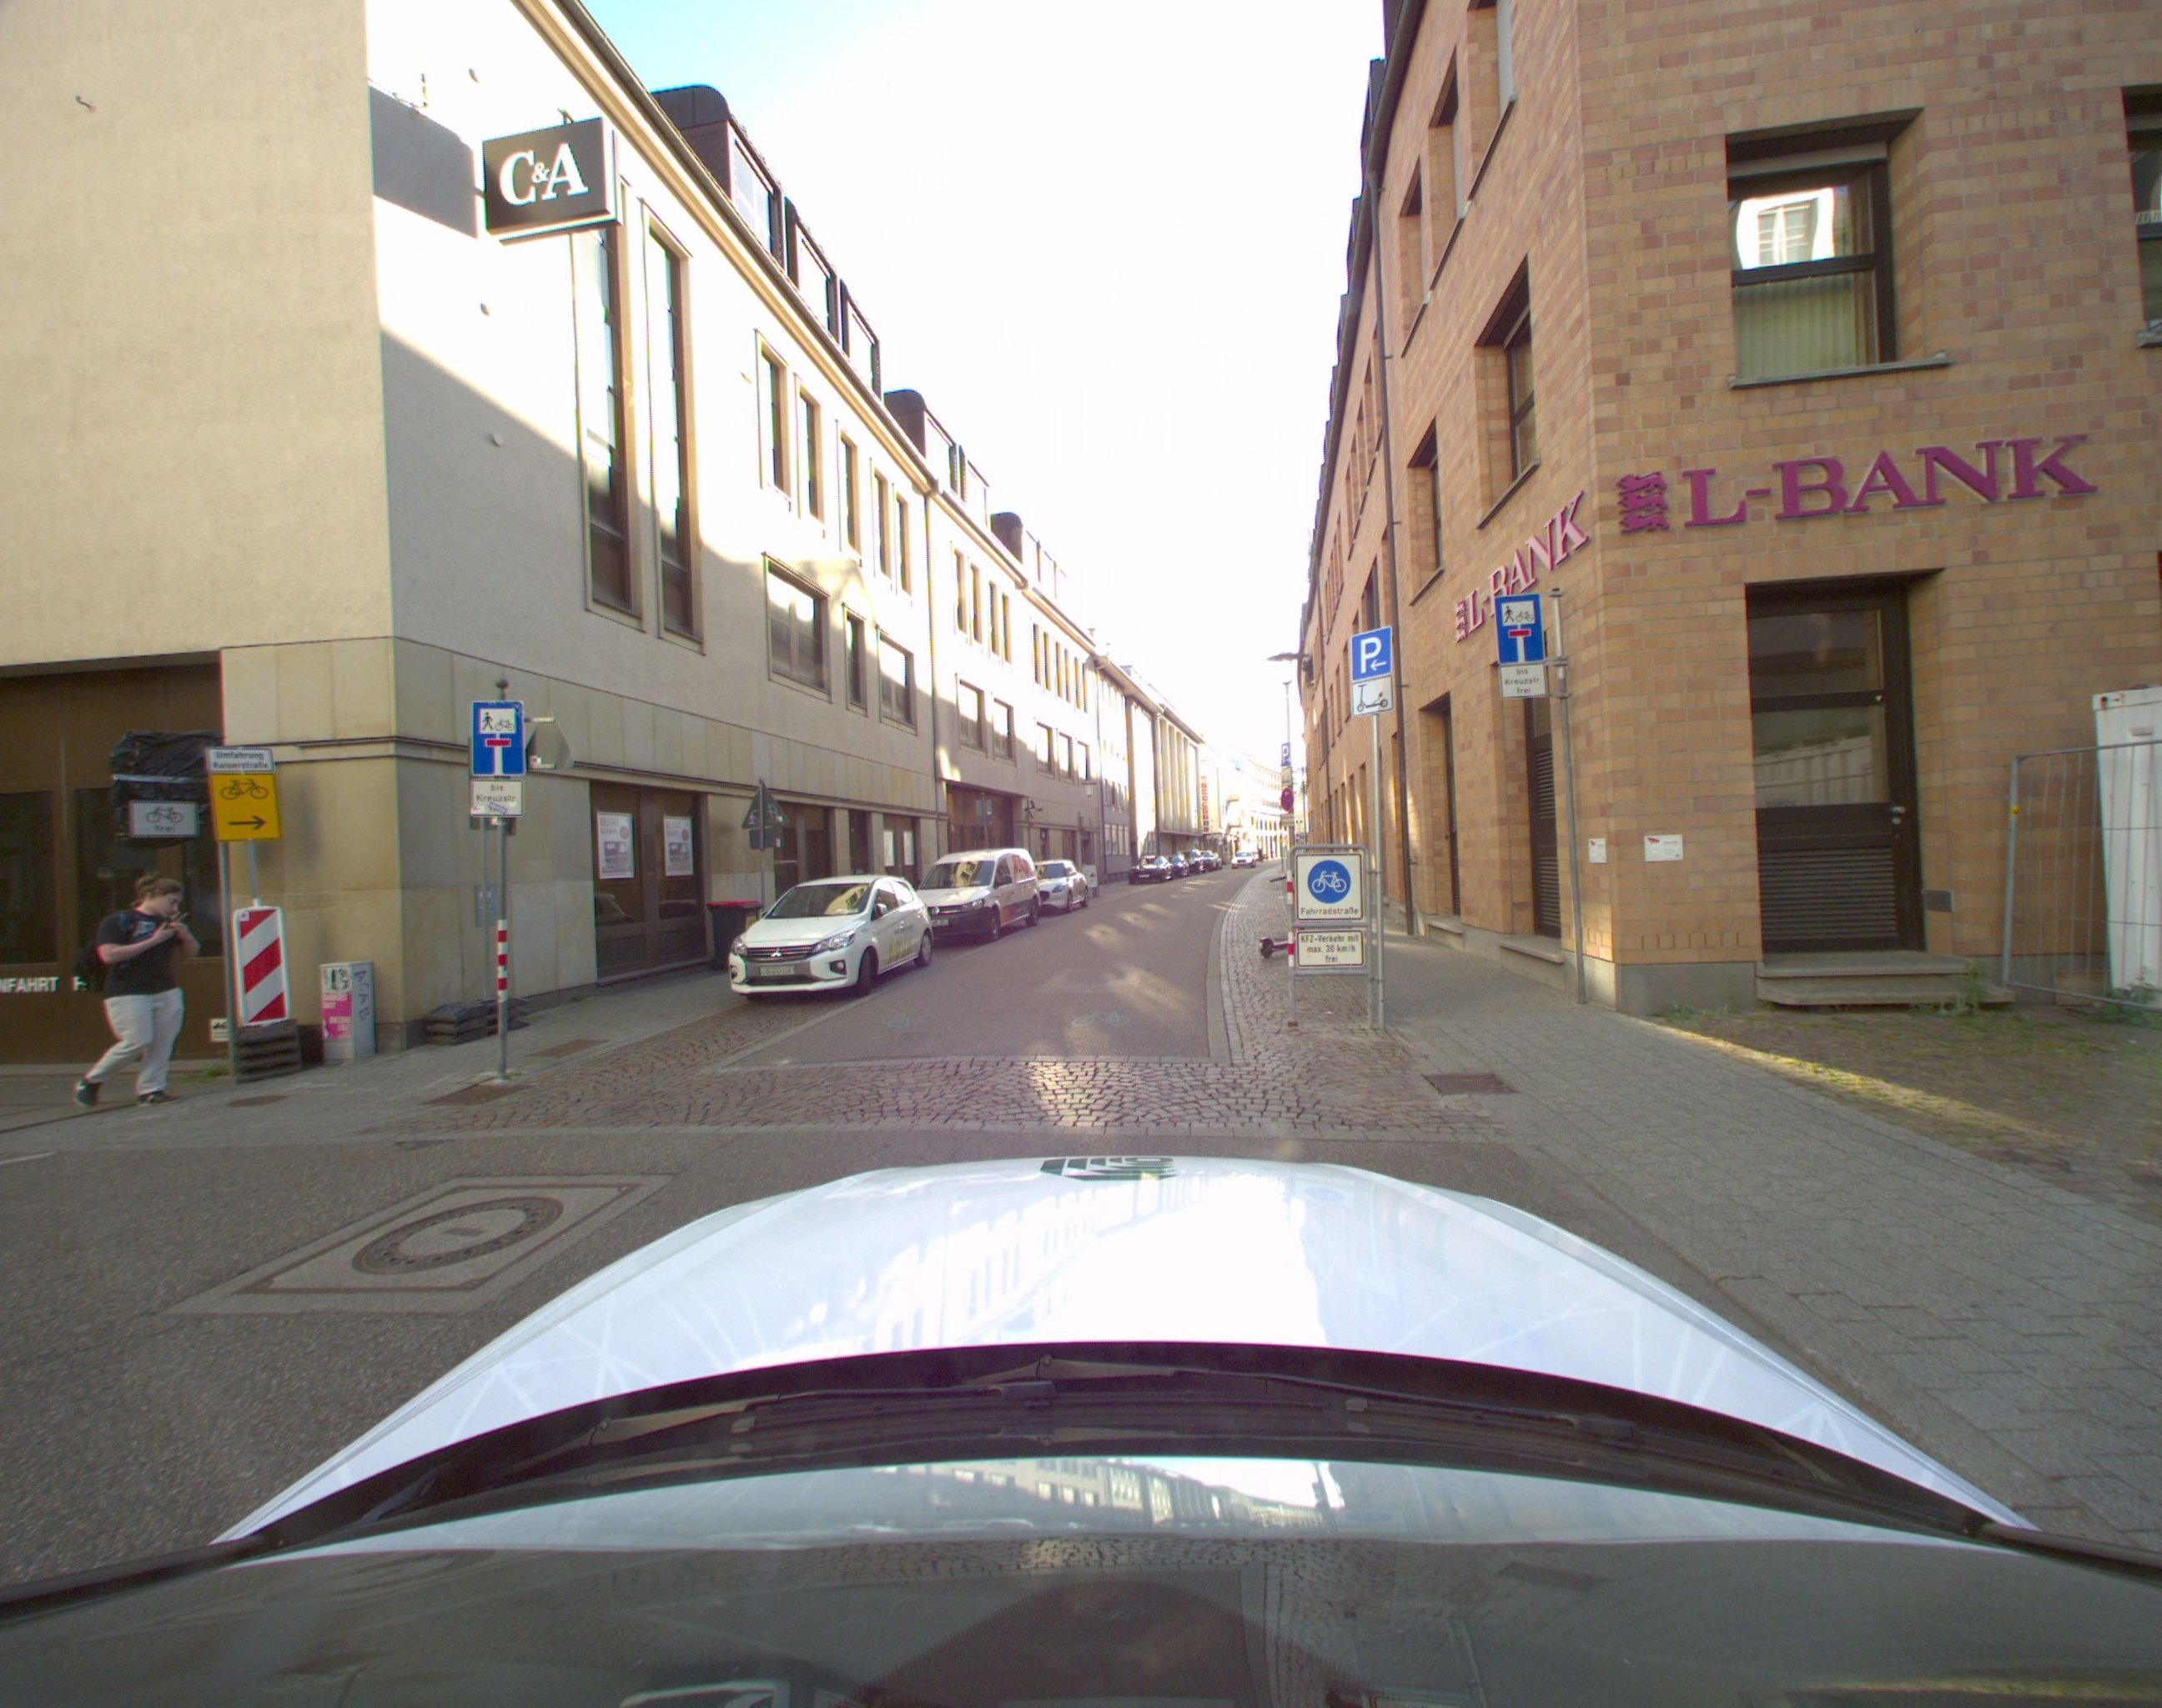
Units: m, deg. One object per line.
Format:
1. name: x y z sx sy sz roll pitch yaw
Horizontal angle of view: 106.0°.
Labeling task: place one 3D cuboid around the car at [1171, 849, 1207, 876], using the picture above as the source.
1. car: 7.393 0.541 55.558 1.877 1.675 4.570 -3 0 13

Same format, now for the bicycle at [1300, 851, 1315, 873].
1. bicycle: 12.201 0.430 43.881 0.546 1.103 1.988 -6 -1 11

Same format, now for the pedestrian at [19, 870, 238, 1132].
1. pedestrian: -7.478 1.092 6.448 0.863 1.854 0.710 -3 -2 -25

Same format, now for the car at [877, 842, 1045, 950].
1. car: -2.315 0.752 17.197 1.887 1.857 4.748 -4 0 11

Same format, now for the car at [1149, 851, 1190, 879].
1. car: 5.471 0.666 49.874 1.877 1.530 4.355 -3 0 13

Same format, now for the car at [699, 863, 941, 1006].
1. car: -3.364 0.958 11.337 1.728 1.492 3.805 -4 0 5

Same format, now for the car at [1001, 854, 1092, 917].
1. car: -0.901 0.848 23.402 1.659 1.522 3.787 -5 -1 11

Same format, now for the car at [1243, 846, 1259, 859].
1. car: 22.324 -0.204 106.693 1.723 1.606 3.549 -2 0 17

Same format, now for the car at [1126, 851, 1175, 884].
1. car: 3.776 0.691 43.773 1.877 1.530 4.746 -3 0 13

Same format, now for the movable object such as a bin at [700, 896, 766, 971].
1. movable object such as a bin: -5.375 1.213 12.597 0.732 1.101 0.592 -1 -1 7

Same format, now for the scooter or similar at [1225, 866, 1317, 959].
1. scooter or similar: 2.807 0.820 11.949 1.426 1.235 0.532 -2 1 -40

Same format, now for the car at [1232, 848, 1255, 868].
1. car: 13.508 0.291 67.590 1.702 1.517 4.175 -3 0 13

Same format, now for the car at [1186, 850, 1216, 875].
1. car: 9.329 0.658 62.957 1.877 1.742 4.406 -3 0 13

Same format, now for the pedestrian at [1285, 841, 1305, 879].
1. pedestrian: 10.054 0.262 38.200 0.755 1.716 0.824 -4 -1 13

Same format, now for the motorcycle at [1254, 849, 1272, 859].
1. motorcycle: 26.337 0.023 117.646 2.372 1.317 0.866 -4 -1 16

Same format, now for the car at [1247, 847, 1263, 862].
1. car: 19.825 0.042 92.739 1.628 1.517 4.175 -3 0 13
